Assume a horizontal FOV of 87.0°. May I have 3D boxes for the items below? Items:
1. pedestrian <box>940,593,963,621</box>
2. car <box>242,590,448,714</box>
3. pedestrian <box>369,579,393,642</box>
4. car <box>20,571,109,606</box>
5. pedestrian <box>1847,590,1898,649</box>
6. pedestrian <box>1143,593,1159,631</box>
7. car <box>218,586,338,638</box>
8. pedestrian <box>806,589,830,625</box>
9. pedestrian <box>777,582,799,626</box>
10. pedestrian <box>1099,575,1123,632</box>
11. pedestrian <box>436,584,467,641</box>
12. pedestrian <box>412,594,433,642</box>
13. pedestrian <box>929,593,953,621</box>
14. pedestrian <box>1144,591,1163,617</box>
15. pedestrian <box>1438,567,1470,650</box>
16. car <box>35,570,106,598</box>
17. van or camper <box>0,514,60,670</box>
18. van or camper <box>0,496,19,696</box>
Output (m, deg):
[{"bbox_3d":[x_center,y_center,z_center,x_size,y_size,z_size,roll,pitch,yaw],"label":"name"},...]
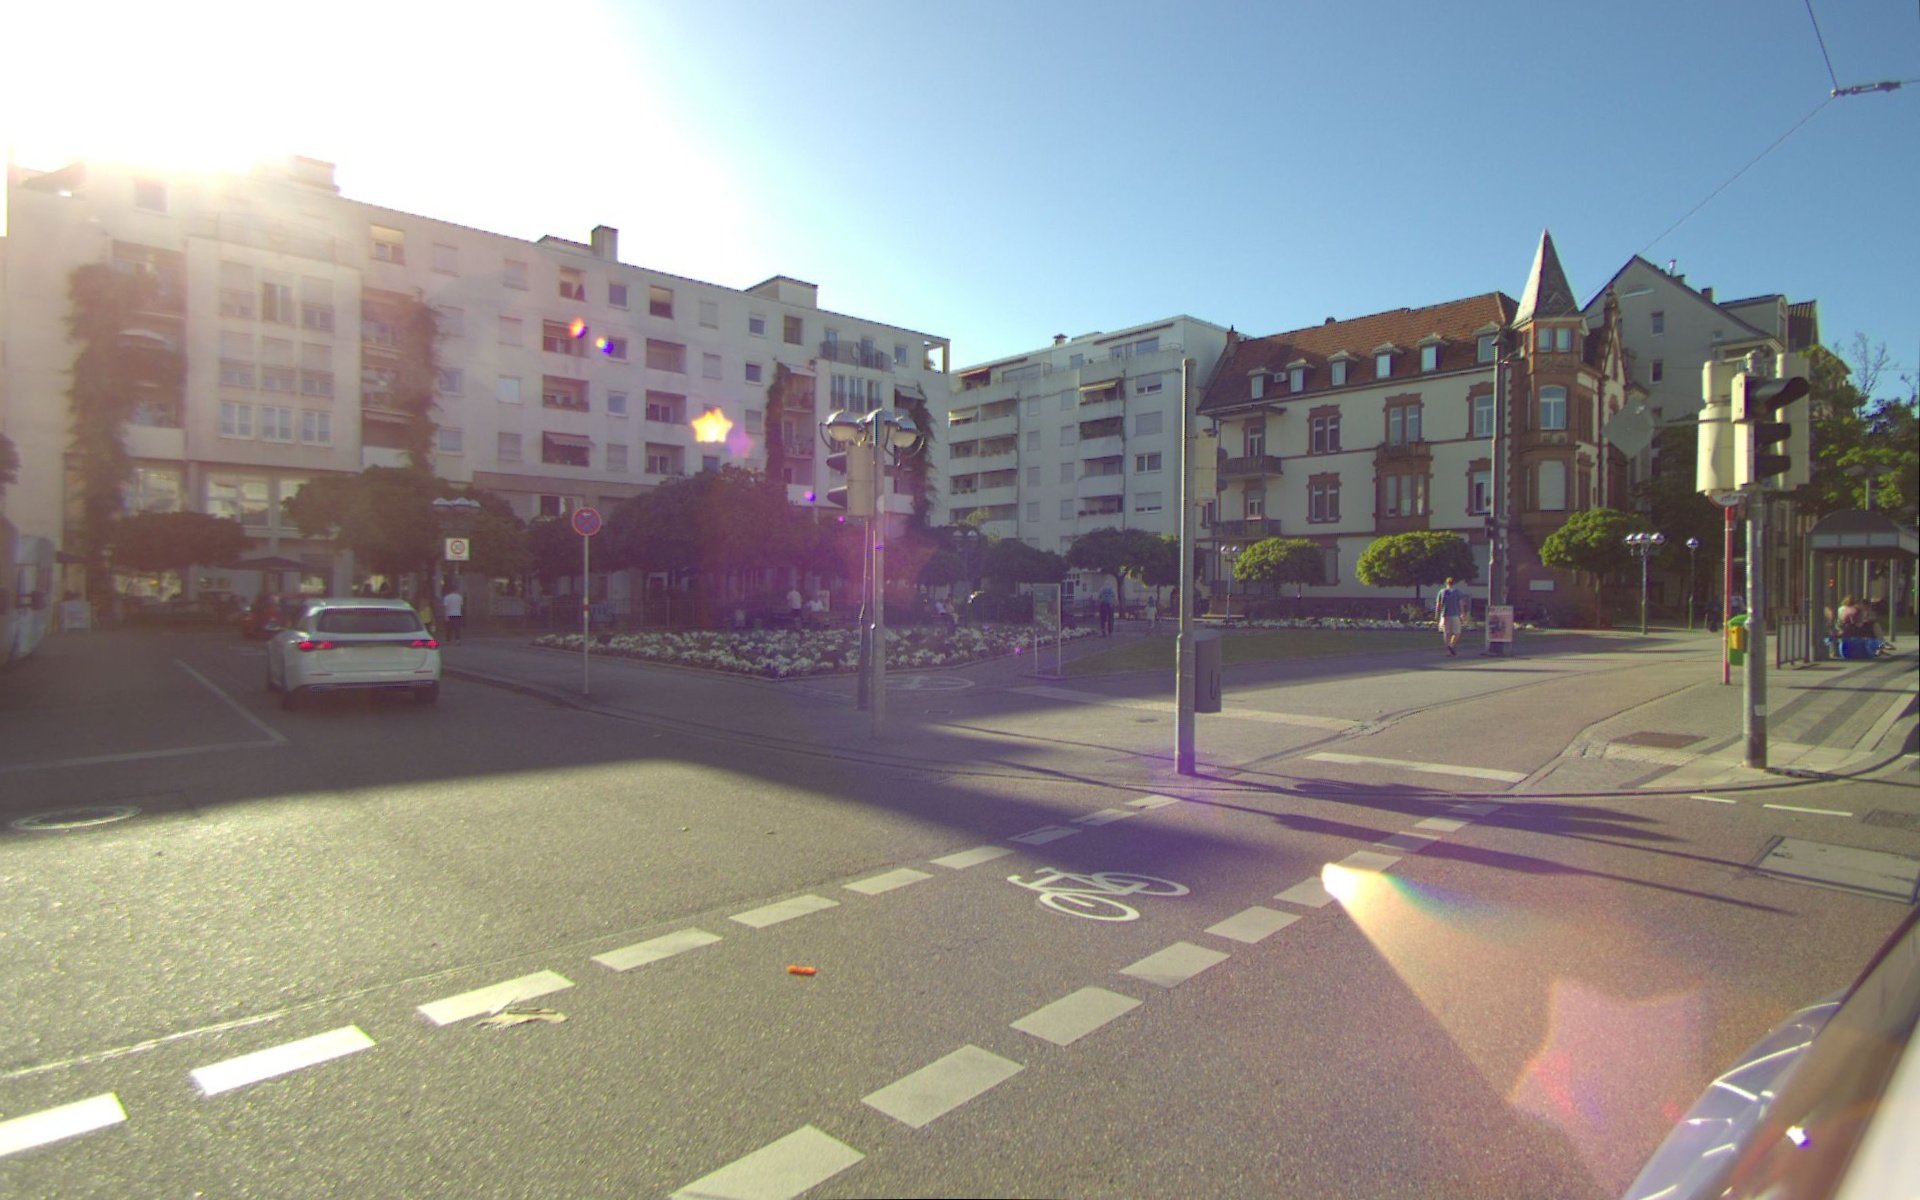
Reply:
[{"bbox_3d":[-0.348,0.299,42.507,0.714,1.165,0.628,0,0,40],"label":"pedestrian"},{"bbox_3d":[-9.073,0.620,14.745,1.778,1.481,4.544,0,1,-42],"label":"car"},{"bbox_3d":[-14.834,0.266,25.924,0.476,1.602,0.408,0,0,-41],"label":"pedestrian"},{"bbox_3d":[-53.481,-0.692,60.530,3.931,2.039,1.997,0,1,-42],"label":"car"},{"bbox_3d":[19.271,0.401,21.381,0.770,1.219,0.602,1,0,40],"label":"pedestrian"},{"bbox_3d":[5.632,0.344,29.870,0.445,1.096,0.449,0,0,9],"label":"pedestrian"},{"bbox_3d":[-21.029,0.337,31.155,3.966,1.481,1.786,1,1,35],"label":"car"},{"bbox_3d":[-5.268,0.247,37.448,0.558,1.290,0.691,0,0,38],"label":"pedestrian"},{"bbox_3d":[-6.205,0.126,36.464,0.558,1.563,0.547,0,0,38],"label":"pedestrian"},{"bbox_3d":[4.389,0.090,29.420,0.640,1.622,0.699,0,0,13],"label":"pedestrian"},{"bbox_3d":[-13.365,0.317,26.593,0.579,1.470,0.604,0,0,-42],"label":"pedestrian"},{"bbox_3d":[-13.969,0.458,26.311,0.414,1.216,0.308,0,0,-42],"label":"pedestrian"},{"bbox_3d":[-0.776,0.277,41.988,0.765,1.165,0.628,1,0,40],"label":"pedestrian"},{"bbox_3d":[9.941,0.184,51.991,0.668,1.308,0.709,0,0,-44],"label":"pedestrian"},{"bbox_3d":[11.981,0.191,24.546,0.644,1.980,0.577,0,0,32],"label":"pedestrian"},{"bbox_3d":[-66.413,-1.162,75.585,3.935,2.039,1.995,0,1,-45],"label":"car"},{"bbox_3d":[-20.522,-0.191,20.649,2.869,2.849,6.928,0,1,-39],"label":"van or camper"},{"bbox_3d":[-15.336,-0.064,14.676,2.180,2.849,6.924,0,1,-41],"label":"van or camper"}]
